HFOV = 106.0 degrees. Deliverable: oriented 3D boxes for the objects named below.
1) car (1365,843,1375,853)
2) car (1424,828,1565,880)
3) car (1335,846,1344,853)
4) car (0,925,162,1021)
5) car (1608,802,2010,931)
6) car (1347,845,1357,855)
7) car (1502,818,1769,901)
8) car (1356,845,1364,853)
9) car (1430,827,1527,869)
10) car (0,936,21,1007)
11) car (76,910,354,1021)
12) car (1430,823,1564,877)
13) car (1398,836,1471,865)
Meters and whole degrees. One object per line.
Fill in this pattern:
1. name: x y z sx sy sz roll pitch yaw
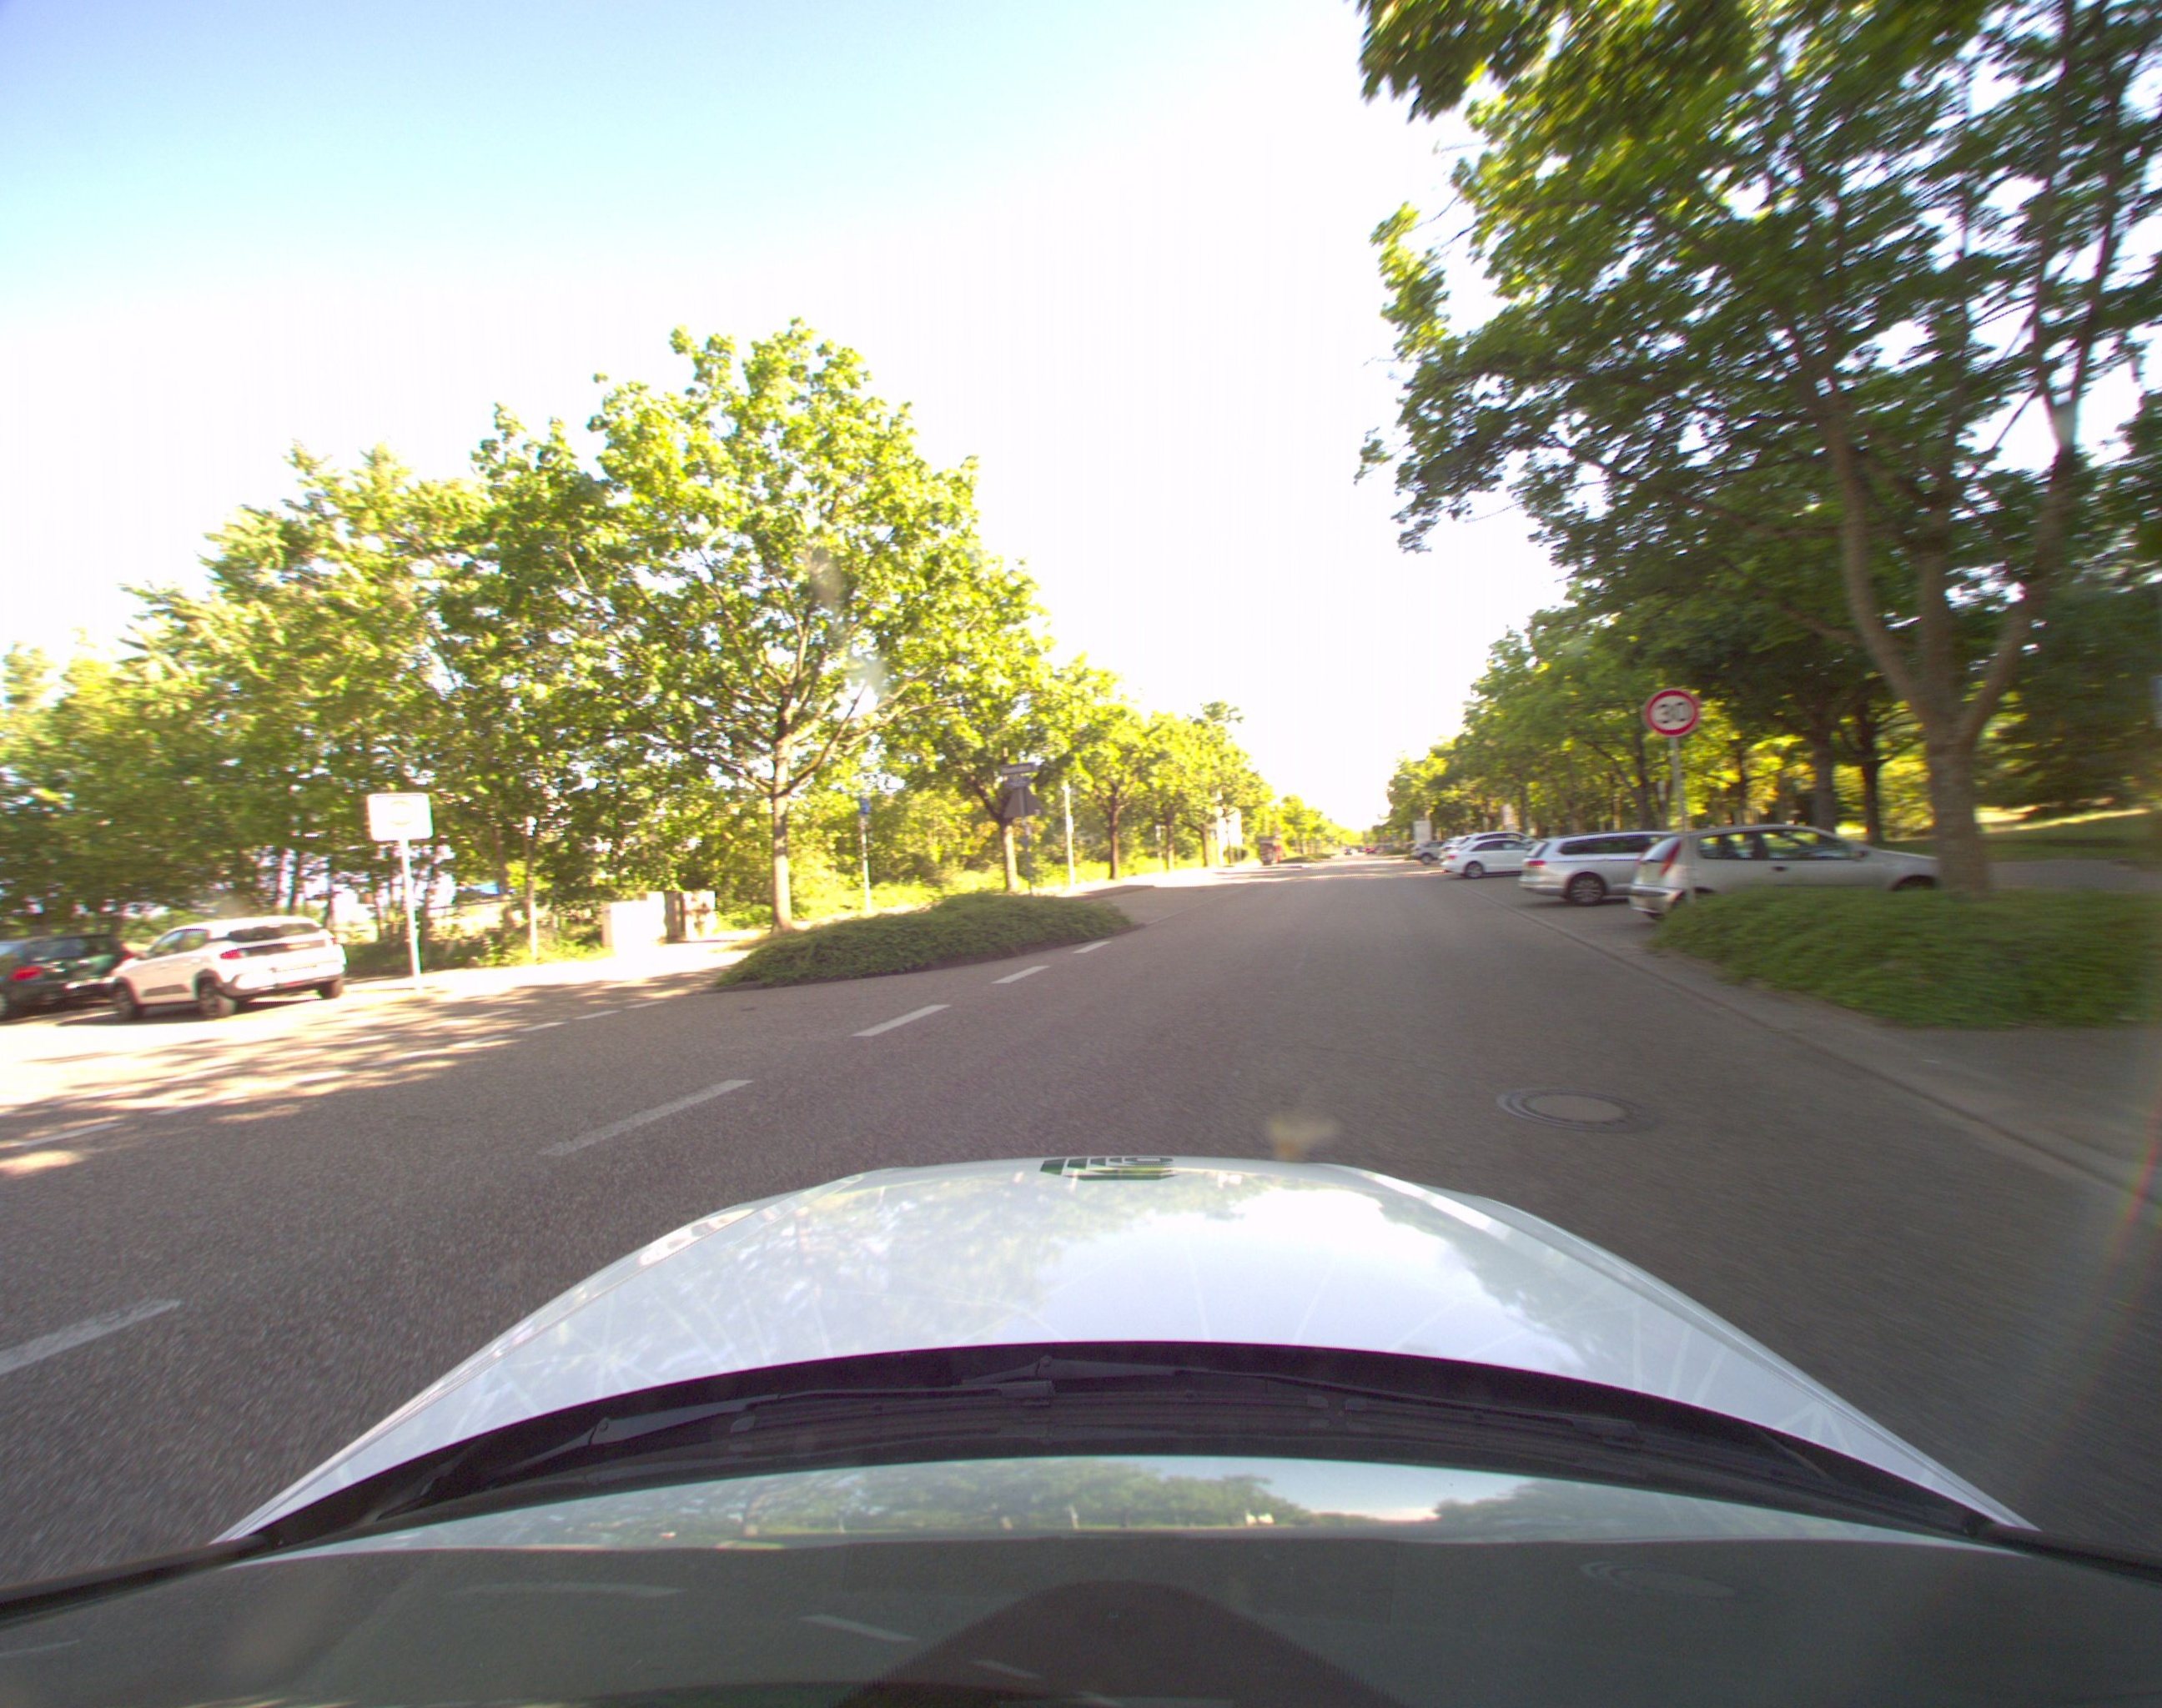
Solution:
1. car: 65.514 -1.403 184.490 1.977 2.013 4.020 -2 0 19
2. car: 15.172 0.007 30.131 4.308 1.489 1.746 -6 -1 17
3. car: 64.700 -1.176 204.058 1.977 1.802 4.020 -2 0 19
4. car: -20.073 2.275 15.585 4.022 1.472 1.840 -4 -1 19
5. car: 10.308 0.208 11.933 3.954 1.451 1.726 -5 -1 19
6. car: 51.069 -0.754 153.429 1.813 1.775 3.758 -2 0 19
7. car: 11.125 0.135 16.748 4.236 1.428 1.838 -3 -1 23
8. car: 76.142 -1.462 221.963 1.977 2.013 4.020 -2 0 19
9. car: 18.061 -0.253 37.140 3.660 1.522 1.658 -6 -1 17
10. car: -24.822 2.617 17.085 4.390 1.437 1.689 -4 -1 17
11. car: -14.274 1.828 13.434 4.042 1.451 1.633 -5 -1 20
12. car: 16.496 -0.162 32.535 4.400 1.647 1.824 -6 -1 17
13. car: 23.060 -0.216 53.313 4.130 1.428 2.010 -6 -1 19
